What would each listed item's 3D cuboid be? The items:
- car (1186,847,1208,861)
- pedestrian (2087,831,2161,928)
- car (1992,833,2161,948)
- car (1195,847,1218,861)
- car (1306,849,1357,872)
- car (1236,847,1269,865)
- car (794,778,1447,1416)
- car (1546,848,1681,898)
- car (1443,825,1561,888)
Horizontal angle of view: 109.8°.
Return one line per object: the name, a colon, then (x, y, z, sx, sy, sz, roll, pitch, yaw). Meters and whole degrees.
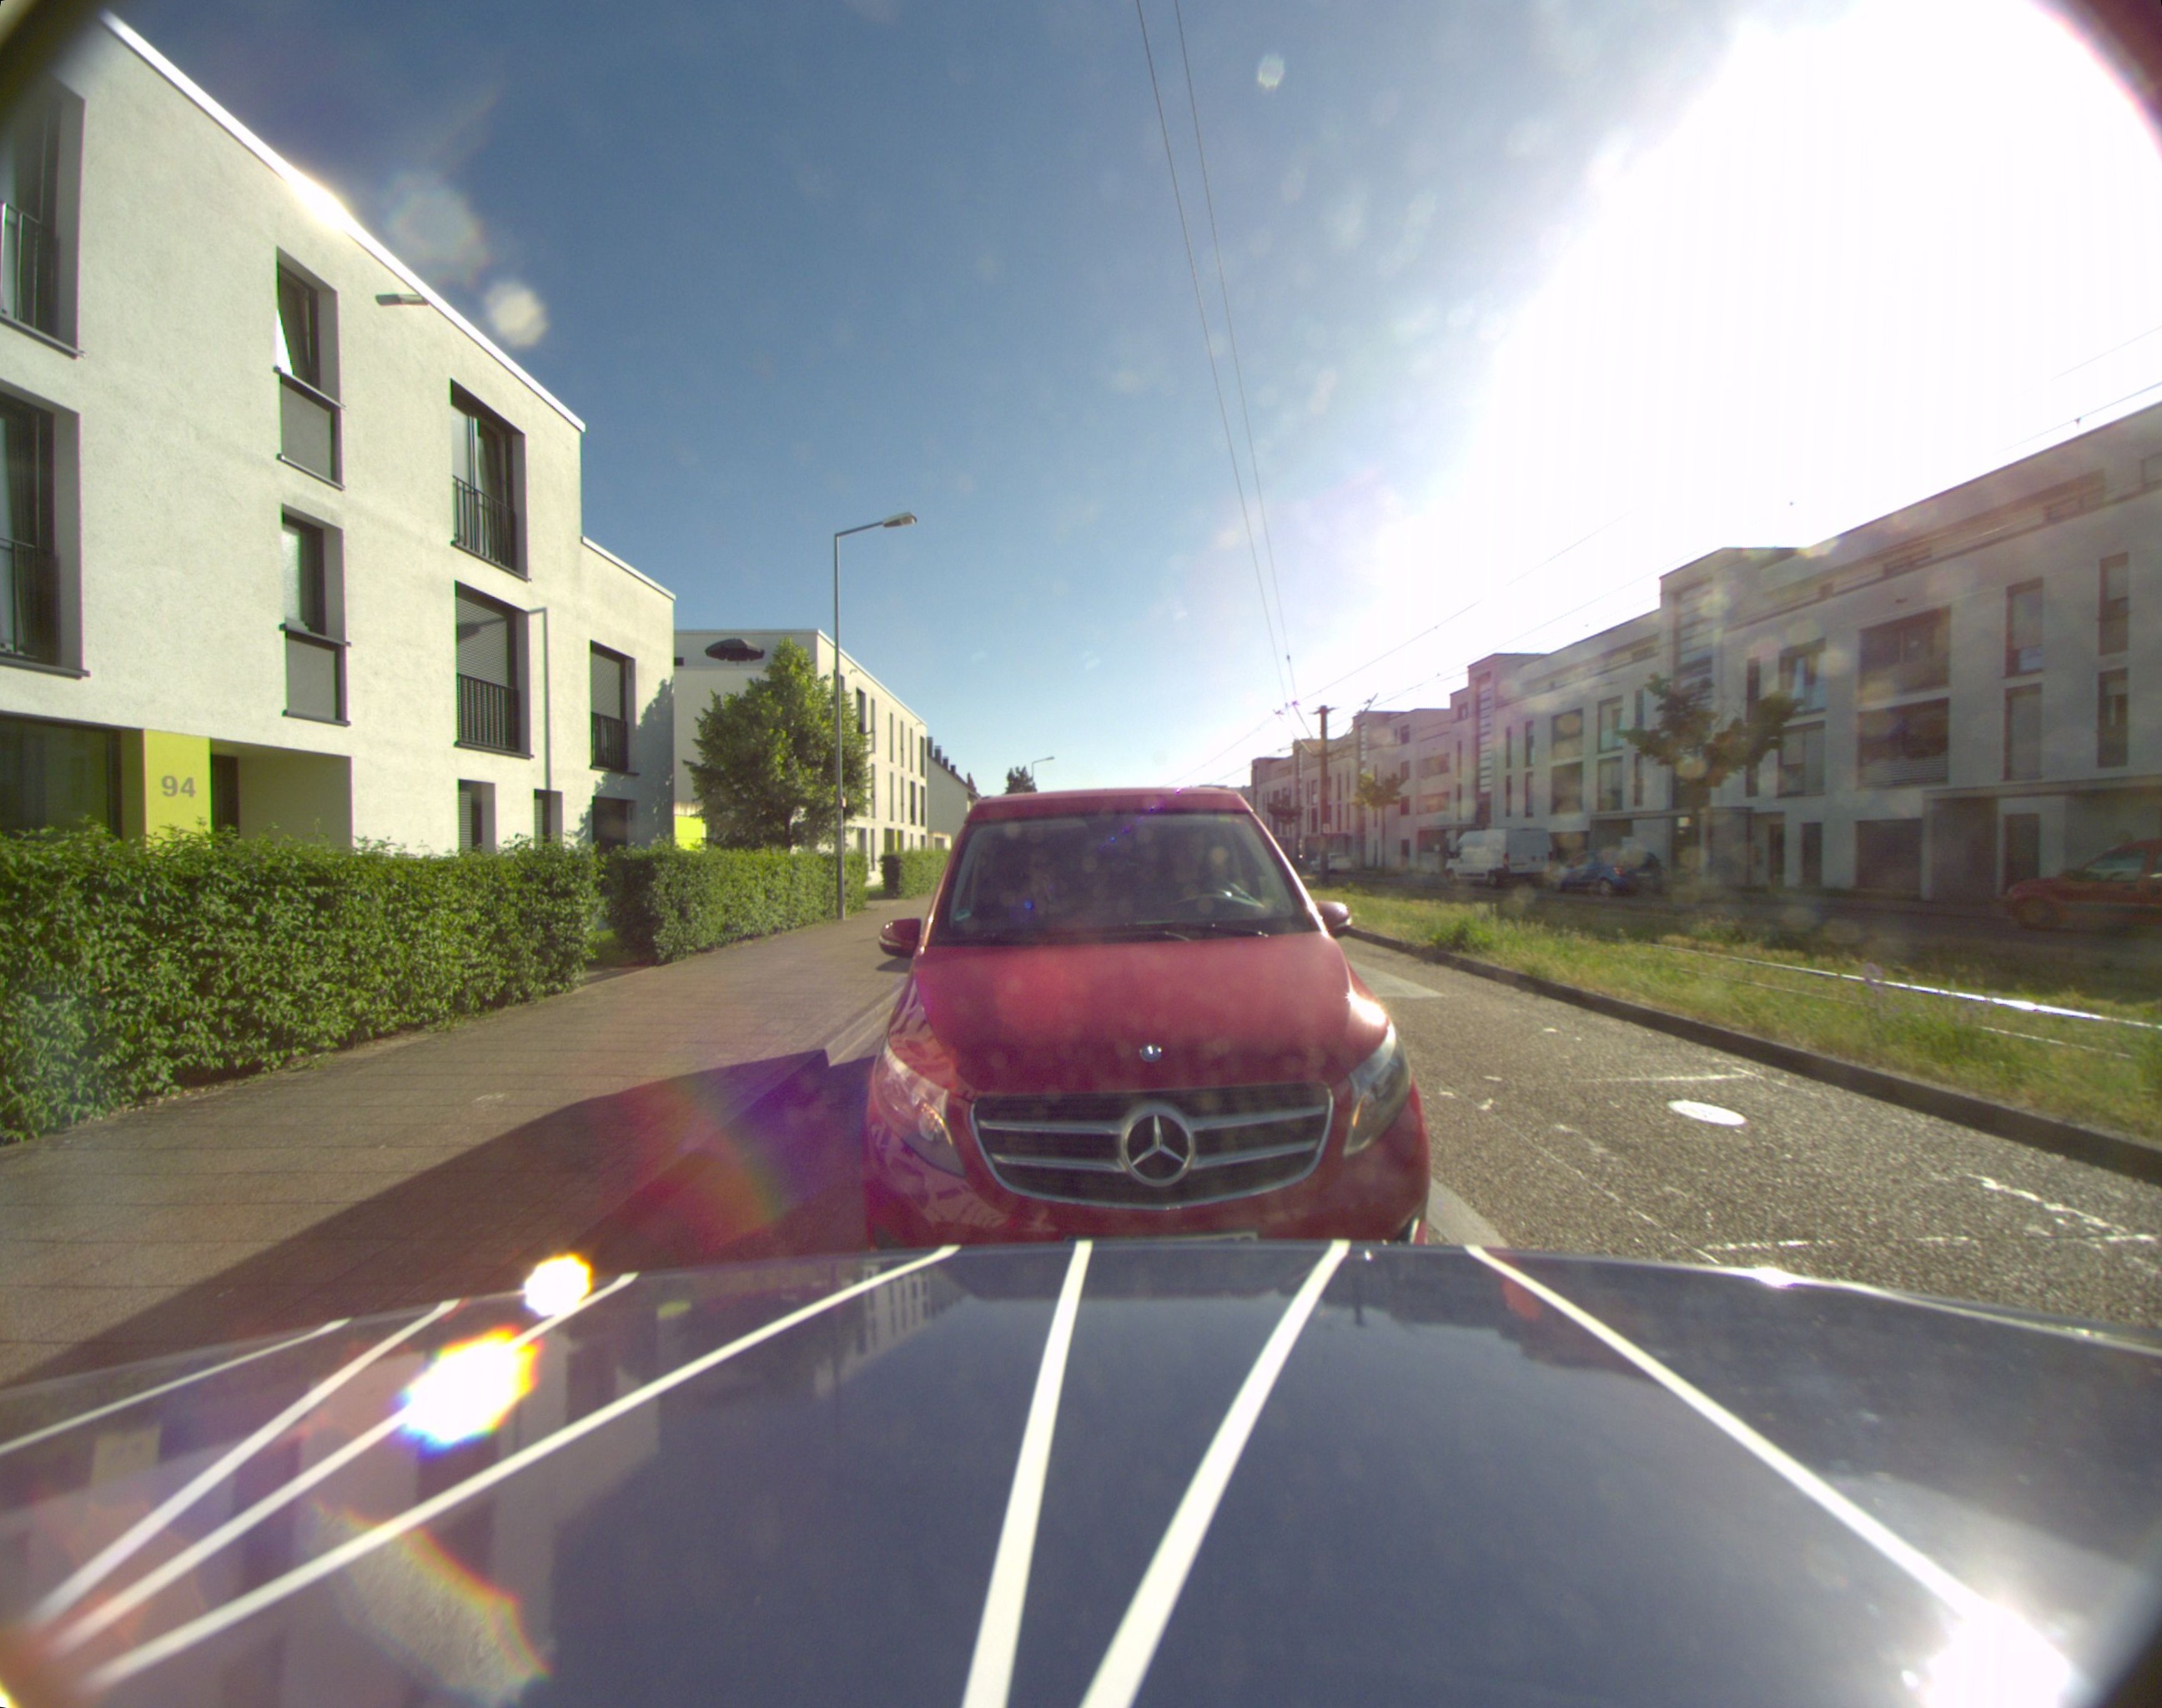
car: (15.184, -0.049, 99.623, 1.923, 1.671, 4.282, -2, 1, -4)
pedestrian: (20.588, 0.481, 14.862, 0.776, 1.812, 0.785, -2, 1, 1)
car: (18.616, 0.587, 12.774, 1.998, 1.817, 3.895, -2, 1, 3)
car: (15.470, -0.027, 93.871, 1.923, 1.671, 4.282, -2, 1, -4)
car: (17.632, 0.424, 53.705, 1.923, 1.497, 4.282, -2, 1, -4)
car: (16.715, 0.143, 74.320, 1.923, 1.671, 4.282, -2, 1, -4)
car: (0.151, 0.707, 4.510, 1.874, 1.843, 4.506, -2, 1, 1)
car: (18.375, 0.584, 26.465, 1.999, 1.536, 3.835, -2, 1, 0)
car: (18.167, 0.083, 33.136, 2.225, 2.458, 5.195, -2, 1, 0)
